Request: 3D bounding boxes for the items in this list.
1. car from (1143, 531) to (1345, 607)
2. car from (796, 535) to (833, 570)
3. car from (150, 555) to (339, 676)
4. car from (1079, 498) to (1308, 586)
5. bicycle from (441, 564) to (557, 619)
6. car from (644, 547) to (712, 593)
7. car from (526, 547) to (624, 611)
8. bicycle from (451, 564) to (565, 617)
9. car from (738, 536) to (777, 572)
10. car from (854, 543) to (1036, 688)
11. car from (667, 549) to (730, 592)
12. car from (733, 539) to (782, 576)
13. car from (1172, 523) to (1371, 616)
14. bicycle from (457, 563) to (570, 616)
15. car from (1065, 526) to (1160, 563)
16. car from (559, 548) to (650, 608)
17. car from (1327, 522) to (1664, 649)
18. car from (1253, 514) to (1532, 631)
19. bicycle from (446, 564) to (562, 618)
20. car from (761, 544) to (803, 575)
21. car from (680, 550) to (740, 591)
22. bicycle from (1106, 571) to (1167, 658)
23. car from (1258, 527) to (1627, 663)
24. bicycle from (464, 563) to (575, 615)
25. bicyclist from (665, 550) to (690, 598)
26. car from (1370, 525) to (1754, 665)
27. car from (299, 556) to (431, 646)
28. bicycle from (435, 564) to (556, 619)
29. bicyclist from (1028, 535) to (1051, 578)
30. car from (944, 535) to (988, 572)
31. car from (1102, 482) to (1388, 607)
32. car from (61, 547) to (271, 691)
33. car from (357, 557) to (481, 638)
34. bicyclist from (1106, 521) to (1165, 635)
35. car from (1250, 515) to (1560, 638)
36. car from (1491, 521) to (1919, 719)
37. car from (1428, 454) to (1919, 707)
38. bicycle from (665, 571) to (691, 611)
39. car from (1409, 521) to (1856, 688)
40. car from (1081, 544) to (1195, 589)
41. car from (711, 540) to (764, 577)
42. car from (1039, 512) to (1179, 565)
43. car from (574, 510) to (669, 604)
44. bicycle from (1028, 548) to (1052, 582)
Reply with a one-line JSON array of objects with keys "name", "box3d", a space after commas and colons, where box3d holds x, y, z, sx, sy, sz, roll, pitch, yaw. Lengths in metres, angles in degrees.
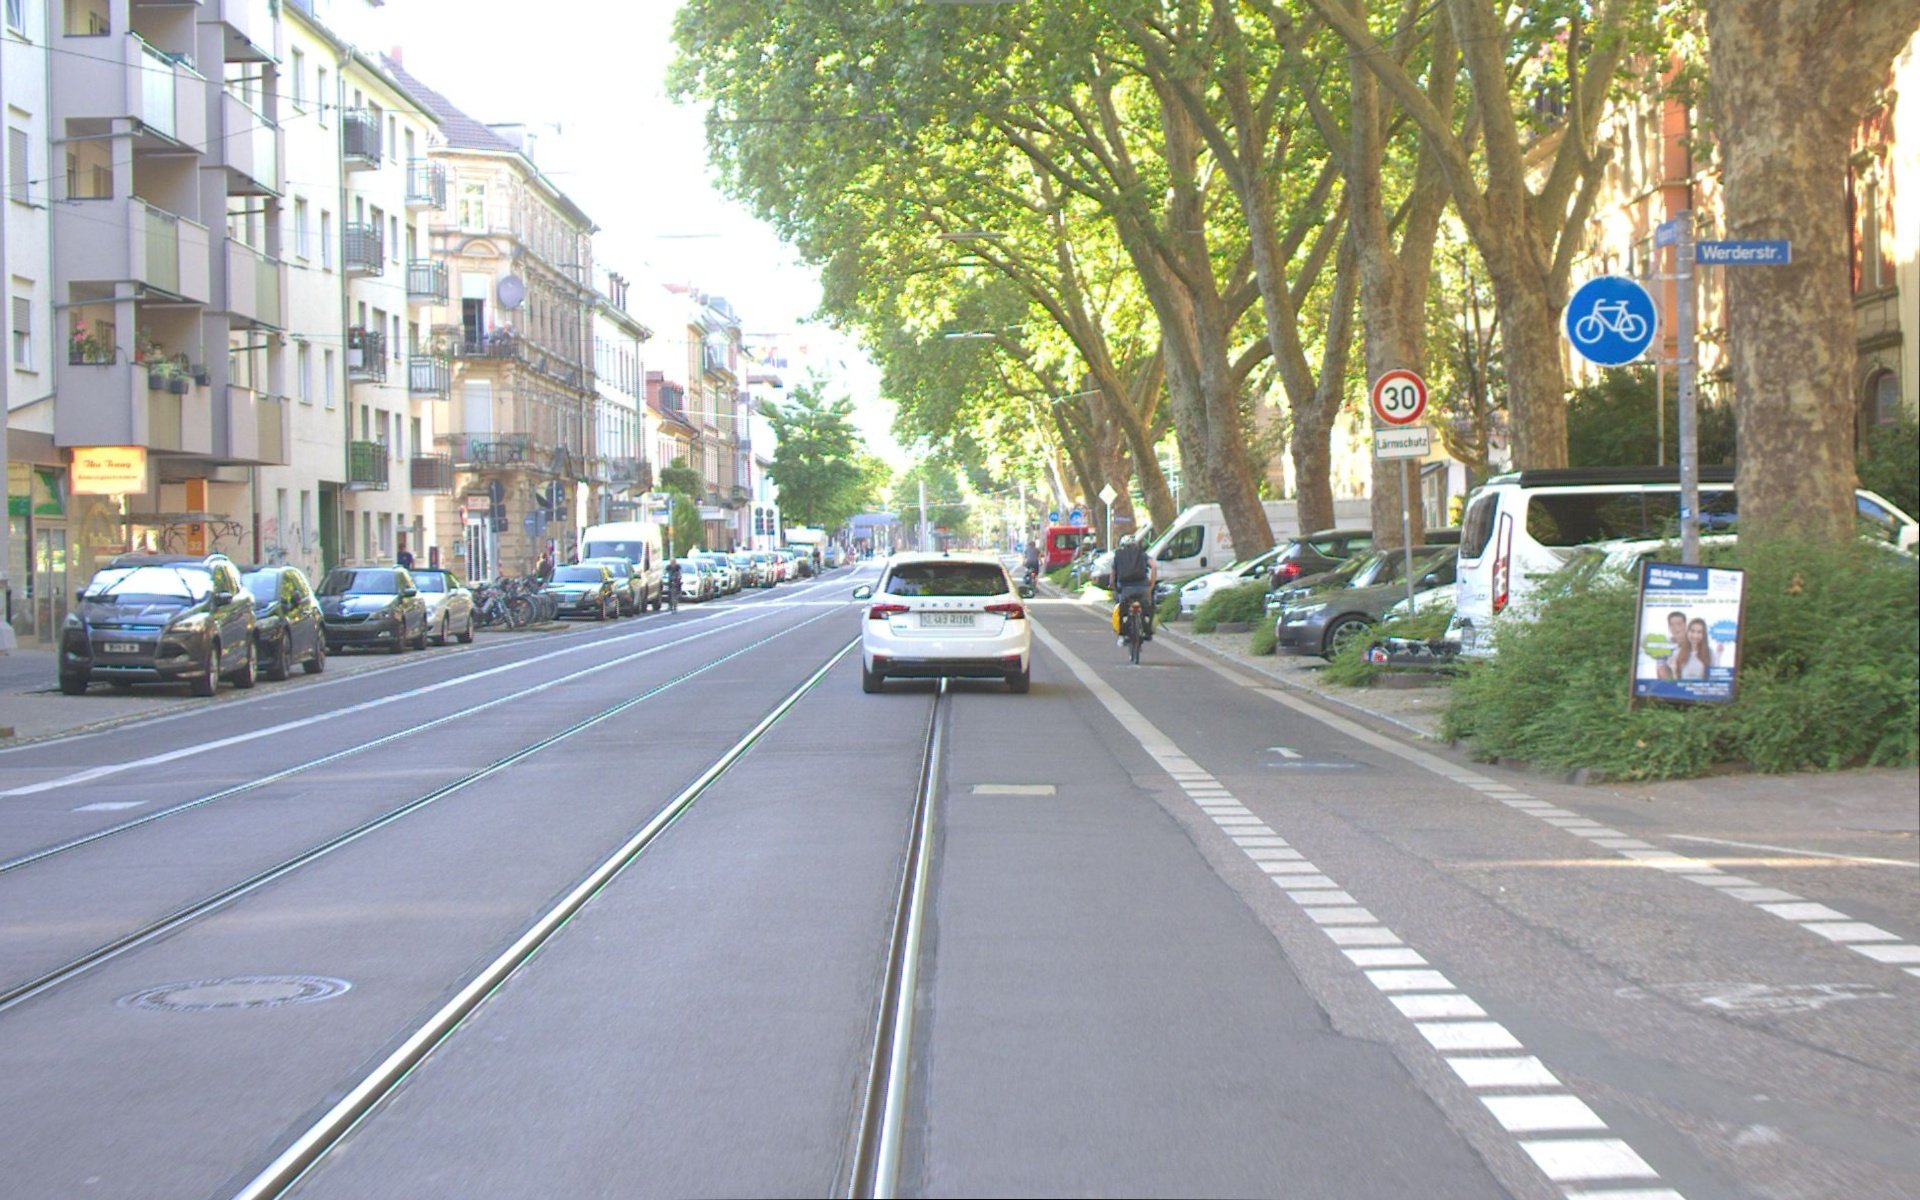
[{"name": "car", "box3d": [6.138, -0.670, 74.558, 4.048, 1.535, 2.000, -1, 1, -5]}, {"name": "car", "box3d": [-8.577, -2.788, 203.004, 1.993, 2.007, 4.000, -1, 1, 0]}, {"name": "car", "box3d": [-9.841, 0.176, 47.566, 1.702, 1.539, 4.242, 1, 1, 0]}, {"name": "car", "box3d": [6.477, -1.623, 95.999, 6.130, 2.274, 2.529, -1, 1, -1]}, {"name": "bicycle", "box3d": [-10.212, -0.186, 76.244, 2.524, 1.168, 0.719, 1, -1, -6]}, {"name": "car", "box3d": [-9.792, -1.045, 119.439, 1.993, 1.525, 4.000, -1, 1, 0]}, {"name": "car", "box3d": [-9.760, -0.557, 87.386, 1.993, 1.525, 4.000, -1, 1, 0]}, {"name": "bicycle", "box3d": [-10.253, -0.219, 78.118, 2.524, 1.168, 0.719, 1, -1, -5]}, {"name": "car", "box3d": [-11.782, -2.695, 200.556, 1.993, 2.007, 4.000, -1, 1, 0]}, {"name": "car", "box3d": [-0.137, 0.122, 35.994, 1.761, 1.379, 4.000, -2, 1, 0]}, {"name": "car", "box3d": [-9.770, -1.126, 128.593, 1.993, 1.525, 4.000, -1, 1, 0]}, {"name": "car", "box3d": [-9.146, -1.908, 155.429, 1.993, 1.634, 4.000, 0, 0, 0]}, {"name": "car", "box3d": [5.872, -0.591, 65.139, 3.634, 1.661, 1.822, -1, 1, 3]}, {"name": "bicycle", "box3d": [-10.257, -0.234, 78.968, 2.524, 1.168, 0.719, 1, -1, -5]}, {"name": "car", "box3d": [6.694, -2.449, 151.528, 4.049, 1.535, 2.000, -1, 1, 0]}, {"name": "car", "box3d": [-9.605, -0.615, 93.167, 1.993, 1.525, 4.000, -1, 1, 0]}, {"name": "car", "box3d": [6.820, -0.197, 44.048, 3.987, 1.509, 1.761, -1, 1, -1]}, {"name": "car", "box3d": [6.571, -0.431, 52.521, 3.987, 1.674, 1.723, -1, 1, -1]}, {"name": "bicycle", "box3d": [-10.227, -0.200, 77.118, 2.524, 1.168, 0.719, 1, -1, -5]}, {"name": "car", "box3d": [-9.356, -2.136, 181.260, 1.993, 1.634, 4.000, 0, 0, 0]}, {"name": "car", "box3d": [-9.689, -1.169, 133.402, 1.993, 1.525, 4.000, -1, 1, 0]}, {"name": "bicycle", "box3d": [2.275, 0.172, 44.482, 0.681, 1.067, 1.781, -2, 1, 1]}, {"name": "car", "box3d": [5.794, -0.078, 41.615, 4.142, 1.509, 1.931, -1, 1, -1]}, {"name": "bicycle", "box3d": [-10.252, -0.244, 80.022, 2.524, 1.168, 0.719, 1, -1, -6]}, {"name": "bicyclist", "box3d": [-7.680, -0.703, 93.453, 0.597, 1.281, 0.917, -2, 1, -3]}, {"name": "car", "box3d": [6.834, -0.072, 39.355, 4.036, 1.474, 1.923, -1, 1, 0]}, {"name": "car", "box3d": [-10.032, -0.008, 58.193, 1.653, 1.432, 3.837, -1, 1, -2]}, {"name": "bicycle", "box3d": [-10.181, -0.173, 75.438, 2.525, 1.168, 0.883, 1, -1, -39]}, {"name": "bicyclist", "box3d": [2.552, -1.399, 110.743, 0.649, 1.339, 0.934, -2, 1, -2]}, {"name": "car", "box3d": [0.255, -1.952, 144.442, 1.761, 1.470, 4.000, -2, 1, 0]}, {"name": "car", "box3d": [6.365, -1.257, 77.381, 6.130, 2.626, 2.529, -1, 1, -1]}, {"name": "car", "box3d": [-9.772, 0.188, 42.584, 1.702, 1.645, 4.242, 1, 1, -2]}, {"name": "car", "box3d": [-9.912, -0.069, 63.204, 1.485, 1.398, 3.990, -1, 1, 2]}, {"name": "bicyclist", "box3d": [2.261, -0.287, 44.434, 0.678, 1.438, 1.047, -2, 1, 1]}, {"name": "car", "box3d": [6.463, -0.357, 50.217, 4.234, 1.661, 1.848, -1, 1, -1]}, {"name": "car", "box3d": [6.612, 0.125, 27.819, 4.297, 1.474, 1.831, -1, 1, -1]}, {"name": "car", "box3d": [6.591, -0.193, 30.393, 4.543, 2.069, 2.001, -1, 1, -2]}, {"name": "bicycle", "box3d": [-7.670, -0.253, 93.446, 0.605, 1.067, 1.583, -2, 1, -2]}, {"name": "car", "box3d": [6.431, 0.028, 33.112, 3.897, 1.474, 1.724, -1, 1, -3]}, {"name": "car", "box3d": [6.485, -1.218, 125.481, 4.049, 1.535, 2.000, -1, 1, 0]}, {"name": "car", "box3d": [-9.615, -1.819, 148.743, 1.993, 1.525, 4.000, -1, 1, 0]}, {"name": "car", "box3d": [6.738, -2.797, 156.217, 6.130, 2.274, 2.529, -1, 1, -1]}, {"name": "car", "box3d": [-9.719, -1.242, 99.103, 2.178, 2.588, 4.949, -1, 1, 0]}, {"name": "bicycle", "box3d": [2.565, -1.120, 110.735, 0.649, 1.067, 1.583, -2, 1, -2]}]
